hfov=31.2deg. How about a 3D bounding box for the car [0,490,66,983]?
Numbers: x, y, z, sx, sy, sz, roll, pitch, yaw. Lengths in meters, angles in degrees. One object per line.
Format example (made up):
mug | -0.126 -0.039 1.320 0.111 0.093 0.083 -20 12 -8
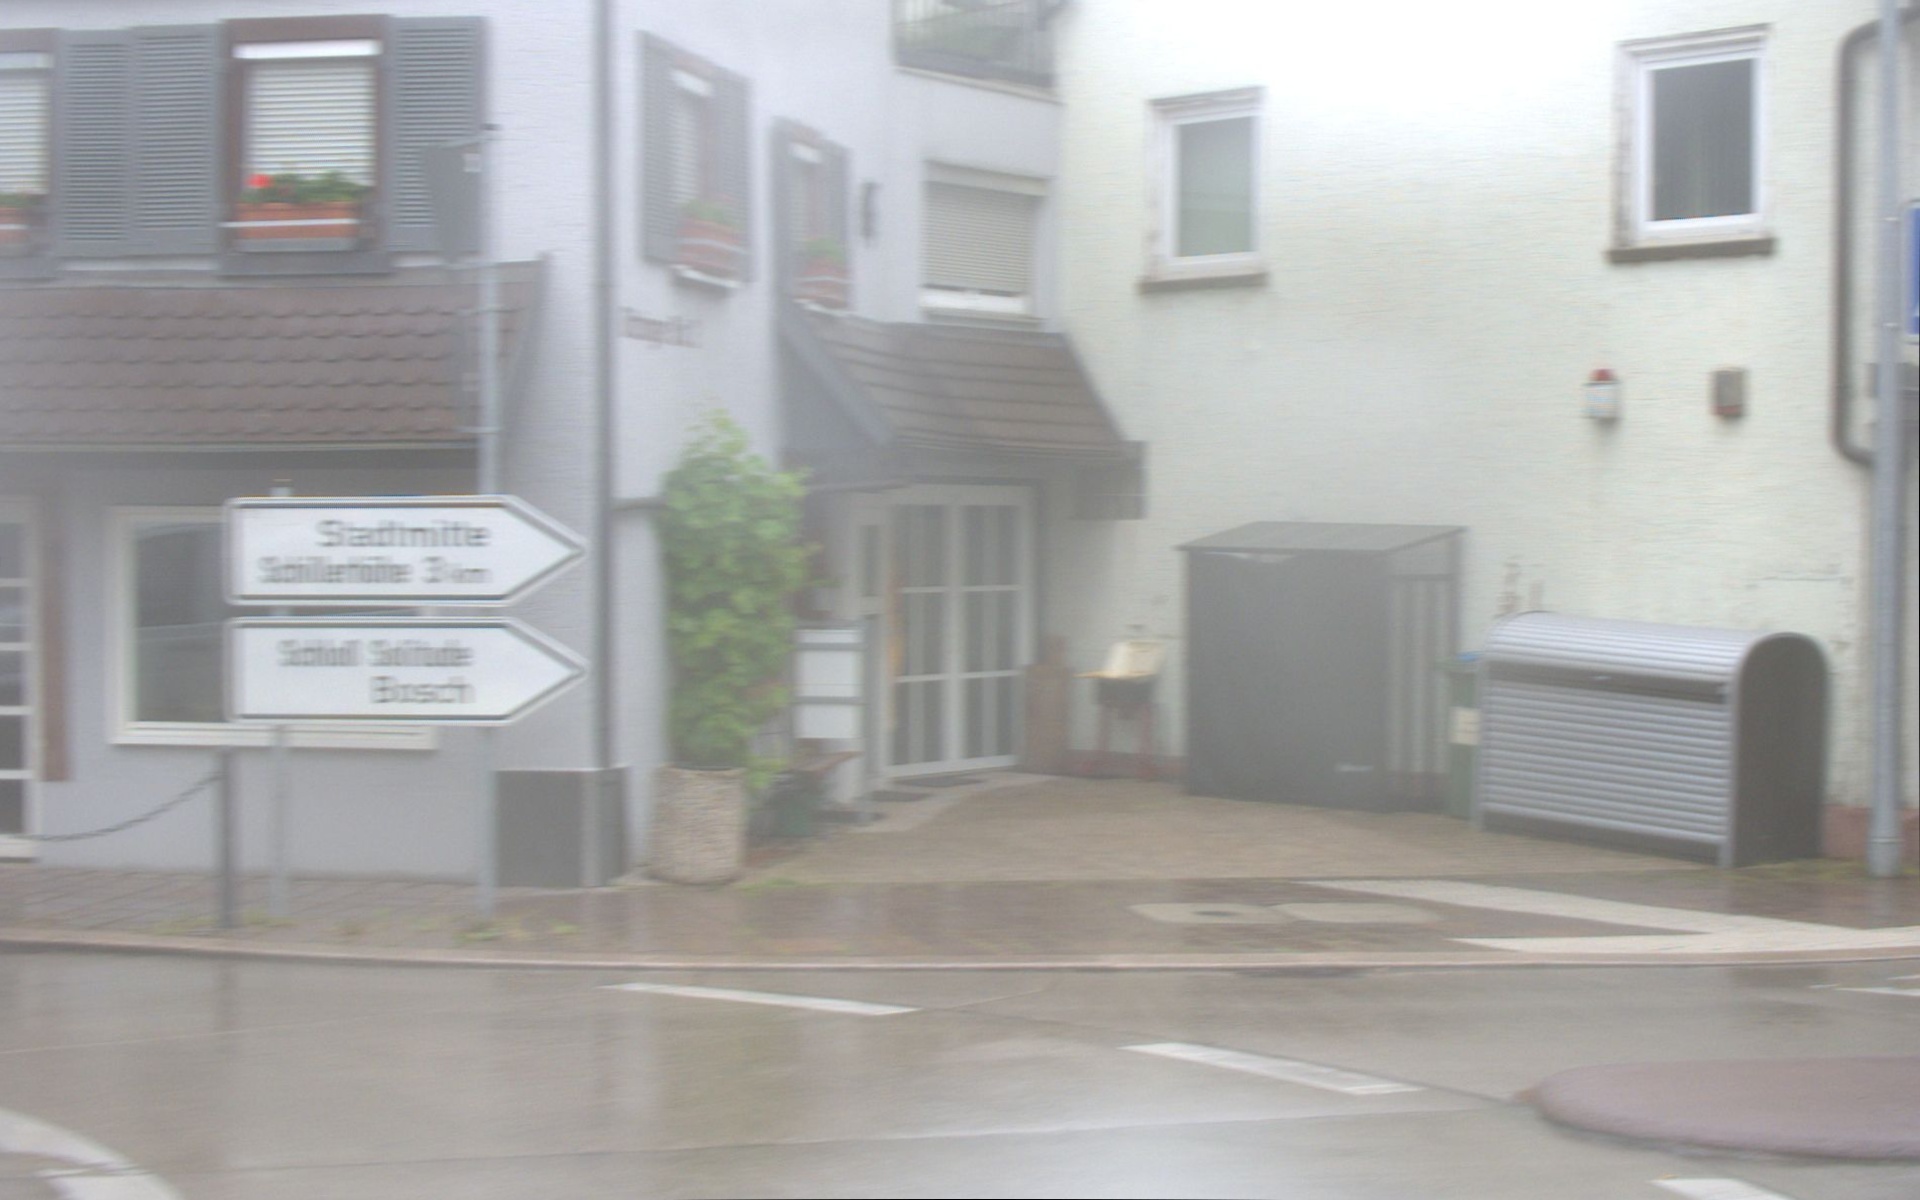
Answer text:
car | -6.159 0.543 13.855 4.918 1.892 2.156 -1 -1 32
